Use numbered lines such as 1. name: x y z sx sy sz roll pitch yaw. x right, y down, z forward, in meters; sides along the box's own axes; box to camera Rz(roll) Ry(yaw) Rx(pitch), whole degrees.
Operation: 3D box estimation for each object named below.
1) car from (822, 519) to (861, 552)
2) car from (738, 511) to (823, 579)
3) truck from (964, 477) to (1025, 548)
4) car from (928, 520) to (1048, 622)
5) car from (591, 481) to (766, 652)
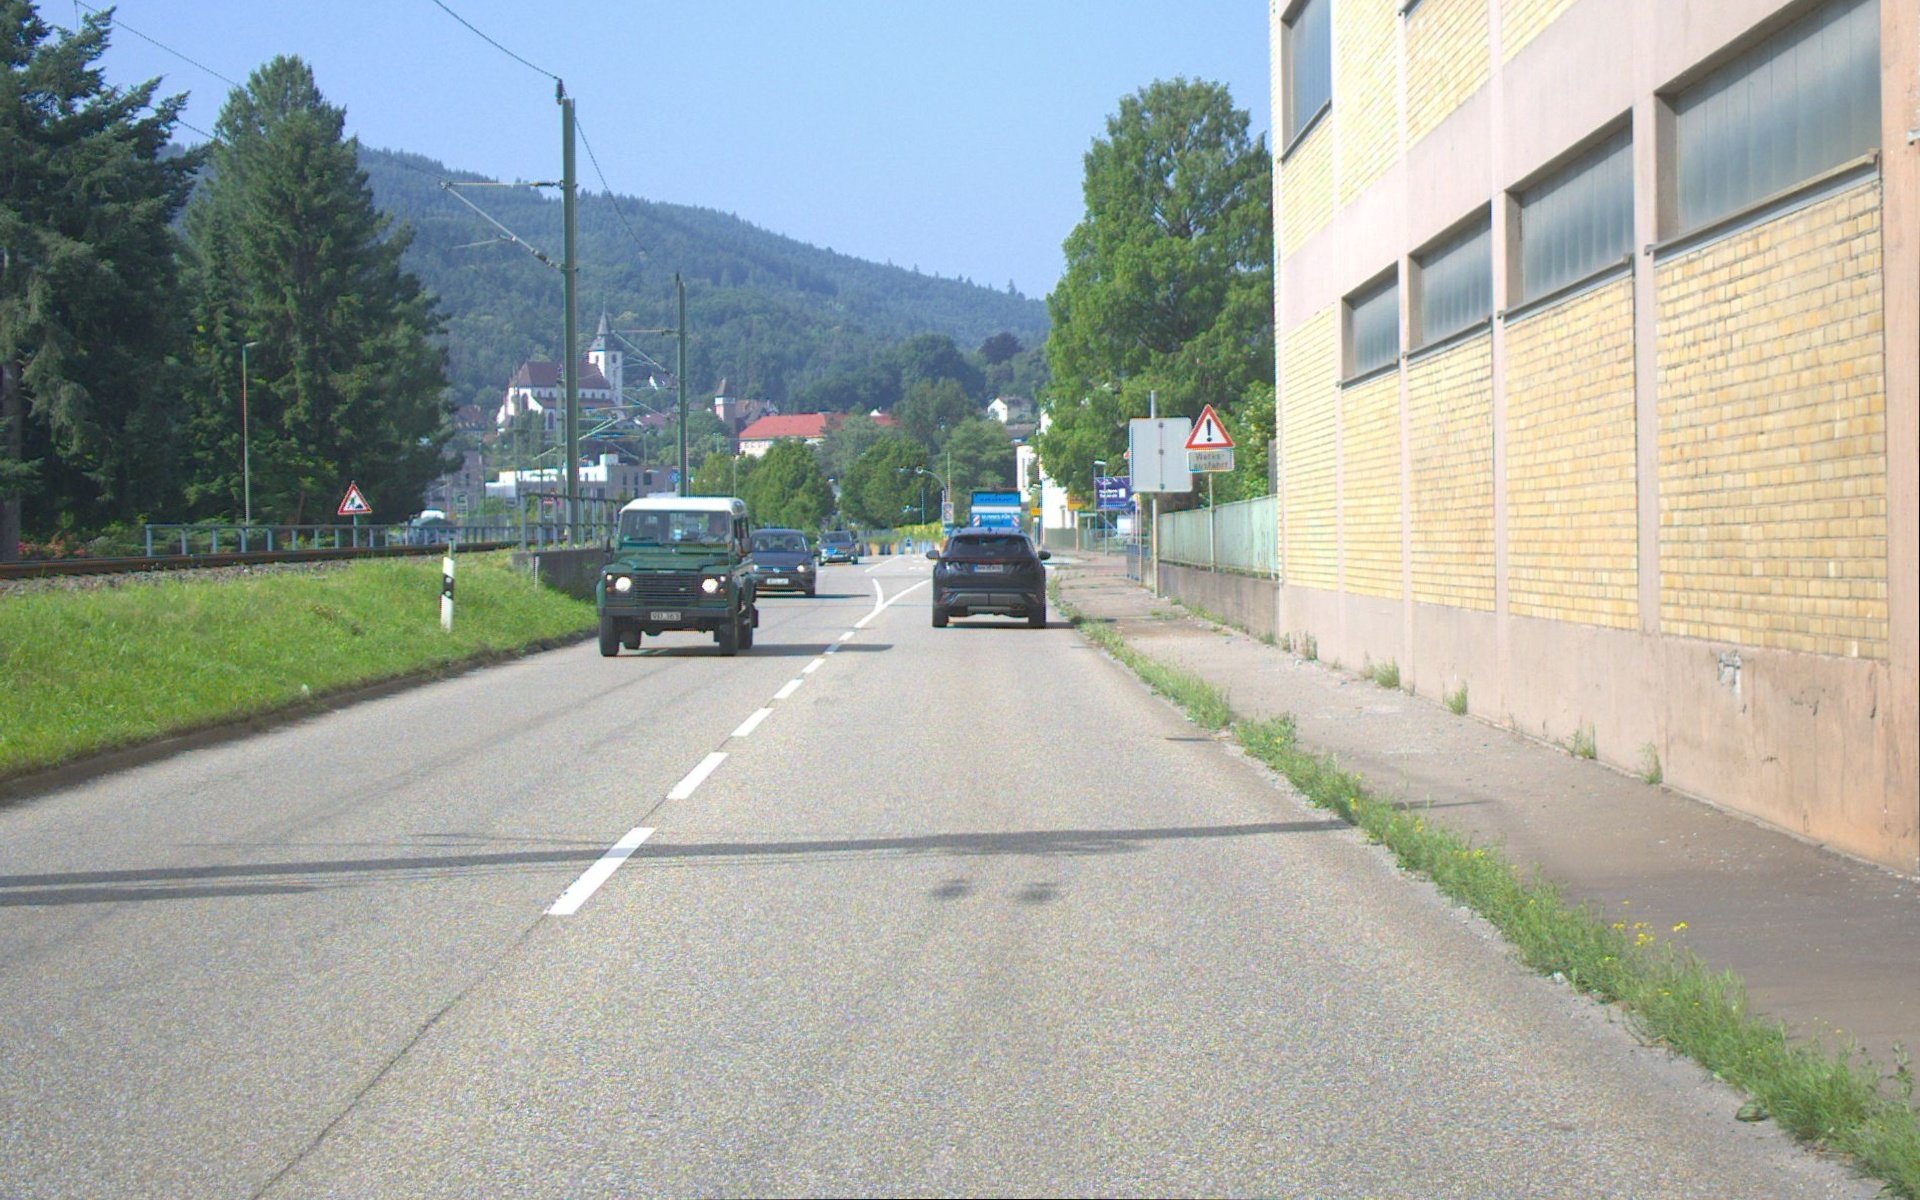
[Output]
1. car: -5.442 -2.974 157.790 1.741 1.502 4.200 0 1 -1
2. car: -4.133 -1.278 79.532 1.731 1.521 4.092 0 1 0
3. truck: 1.441 -3.735 146.950 2.312 2.960 5.966 -1 1 -2
4. car: 0.471 -0.511 57.308 1.919 1.634 4.000 0 1 0
5. car: -3.600 -0.464 44.695 1.758 2.071 4.808 1 1 1
